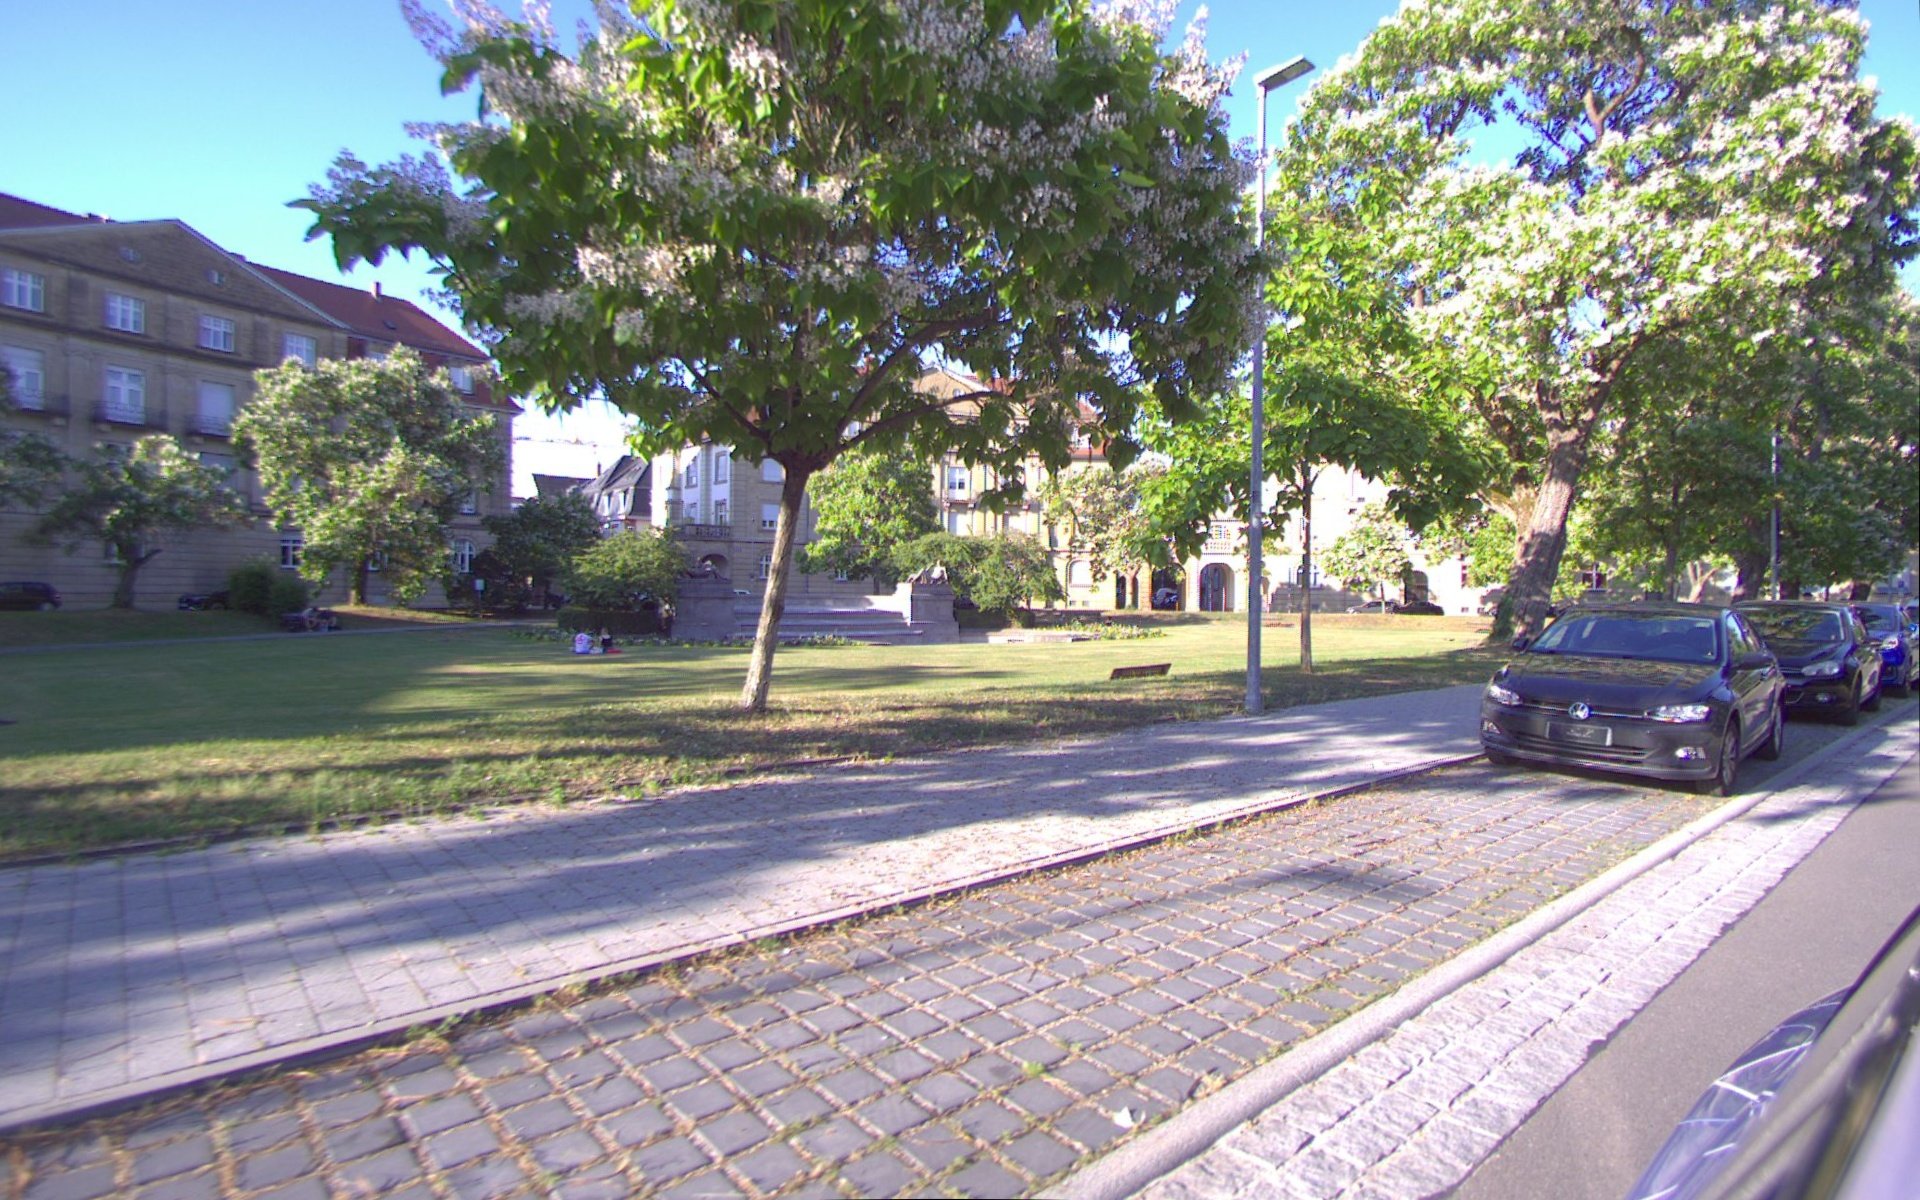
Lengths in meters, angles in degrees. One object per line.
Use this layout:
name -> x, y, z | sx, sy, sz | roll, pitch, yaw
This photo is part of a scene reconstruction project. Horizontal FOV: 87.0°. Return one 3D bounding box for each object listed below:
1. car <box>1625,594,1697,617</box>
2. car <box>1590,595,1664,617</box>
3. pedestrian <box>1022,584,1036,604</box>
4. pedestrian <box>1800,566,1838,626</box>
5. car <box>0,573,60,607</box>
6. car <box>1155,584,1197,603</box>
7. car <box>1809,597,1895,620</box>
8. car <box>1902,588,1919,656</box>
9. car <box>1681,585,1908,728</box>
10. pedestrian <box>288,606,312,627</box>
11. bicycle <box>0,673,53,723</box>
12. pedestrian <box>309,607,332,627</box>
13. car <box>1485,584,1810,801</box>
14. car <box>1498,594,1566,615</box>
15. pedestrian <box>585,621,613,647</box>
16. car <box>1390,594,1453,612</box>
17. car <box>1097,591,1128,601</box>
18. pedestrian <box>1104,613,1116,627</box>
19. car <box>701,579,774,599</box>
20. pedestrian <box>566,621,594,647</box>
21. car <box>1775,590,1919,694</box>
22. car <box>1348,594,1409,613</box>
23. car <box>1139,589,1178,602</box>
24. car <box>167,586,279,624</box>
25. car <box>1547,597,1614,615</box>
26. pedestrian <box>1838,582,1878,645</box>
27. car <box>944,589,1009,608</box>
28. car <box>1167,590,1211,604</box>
car -> 53.623, 0.409, 77.526 | 4.419, 1.620, 1.783 | 1, 1, 32
car -> 48.599, 0.423, 73.866 | 4.329, 1.435, 1.826 | 1, 1, 30
pedestrian -> 5.380, -0.480, 78.943 | 0.933, 1.493, 0.682 | 0, 1, -39
pedestrian -> 25.225, -0.114, 29.721 | 0.719, 1.758, 0.726 | 1, -1, -40
car -> -43.170, -0.454, 45.263 | 1.859, 1.471, 3.970 | 1, 1, 22
car -> 24.600, -0.791, 115.347 | 4.285, 2.134, 1.821 | 0, 1, -3
car -> 62.031, 0.580, 70.411 | 4.440, 1.436, 1.905 | 1, 1, 44
car -> 27.015, 0.571, 27.487 | 4.436, 1.761, 1.681 | 0, 1, -42
car -> 11.092, 0.598, 13.343 | 4.347, 1.570, 1.734 | 0, 1, -43
pedestrian -> -27.149, 0.673, 41.634 | 0.584, 0.804, 0.658 | 1, 1, 38
bicycle -> -14.862, 1.466, 14.818 | 1.774, 0.622, 1.775 | 0, 0, -17
pedestrian -> -26.709, 0.686, 42.237 | 0.584, 0.804, 0.658 | 1, 1, 38
car -> 6.273, 0.612, 9.025 | 4.180, 1.482, 1.627 | -1, 1, -45
car -> 43.308, 0.324, 76.714 | 4.394, 1.435, 1.553 | 1, 1, 26
pedestrian -> -11.741, 1.117, 32.939 | 0.656, 0.804, 0.586 | 1, 1, 6
car -> 38.847, 0.253, 85.304 | 4.588, 1.435, 1.809 | 1, 1, 18
car -> 22.903, -0.655, 152.175 | 4.288, 1.435, 1.820 | 0, 1, -1
pedestrian -> 9.658, 1.266, 65.101 | 0.663, 0.892, 0.578 | 0, -1, -3
car -> -15.928, -0.782, 72.537 | 4.854, 1.435, 1.820 | 0, 1, -34
pedestrian -> -12.408, 1.110, 33.036 | 0.656, 0.804, 0.586 | 1, 1, 6
car -> 15.657, 0.623, 17.456 | 4.200, 1.570, 1.735 | 0, 1, -41
car -> 33.402, 0.293, 80.871 | 4.316, 1.435, 1.808 | 1, 1, 20
car -> 23.850, -0.567, 121.533 | 4.283, 1.435, 1.822 | 0, 1, -6
car -> -35.673, 0.237, 49.086 | 1.976, 1.727, 3.972 | 0, 0, 21
car -> 49.209, 0.440, 80.318 | 4.411, 1.341, 1.491 | 1, 1, 28
pedestrian -> 25.563, 0.390, 28.819 | 0.719, 1.758, 0.754 | 1, -1, -40
car -> 1.284, -0.118, 80.862 | 4.845, 1.435, 1.823 | 0, 1, -16
car -> 24.688, -0.321, 109.062 | 4.283, 1.435, 1.822 | 0, 1, -6
